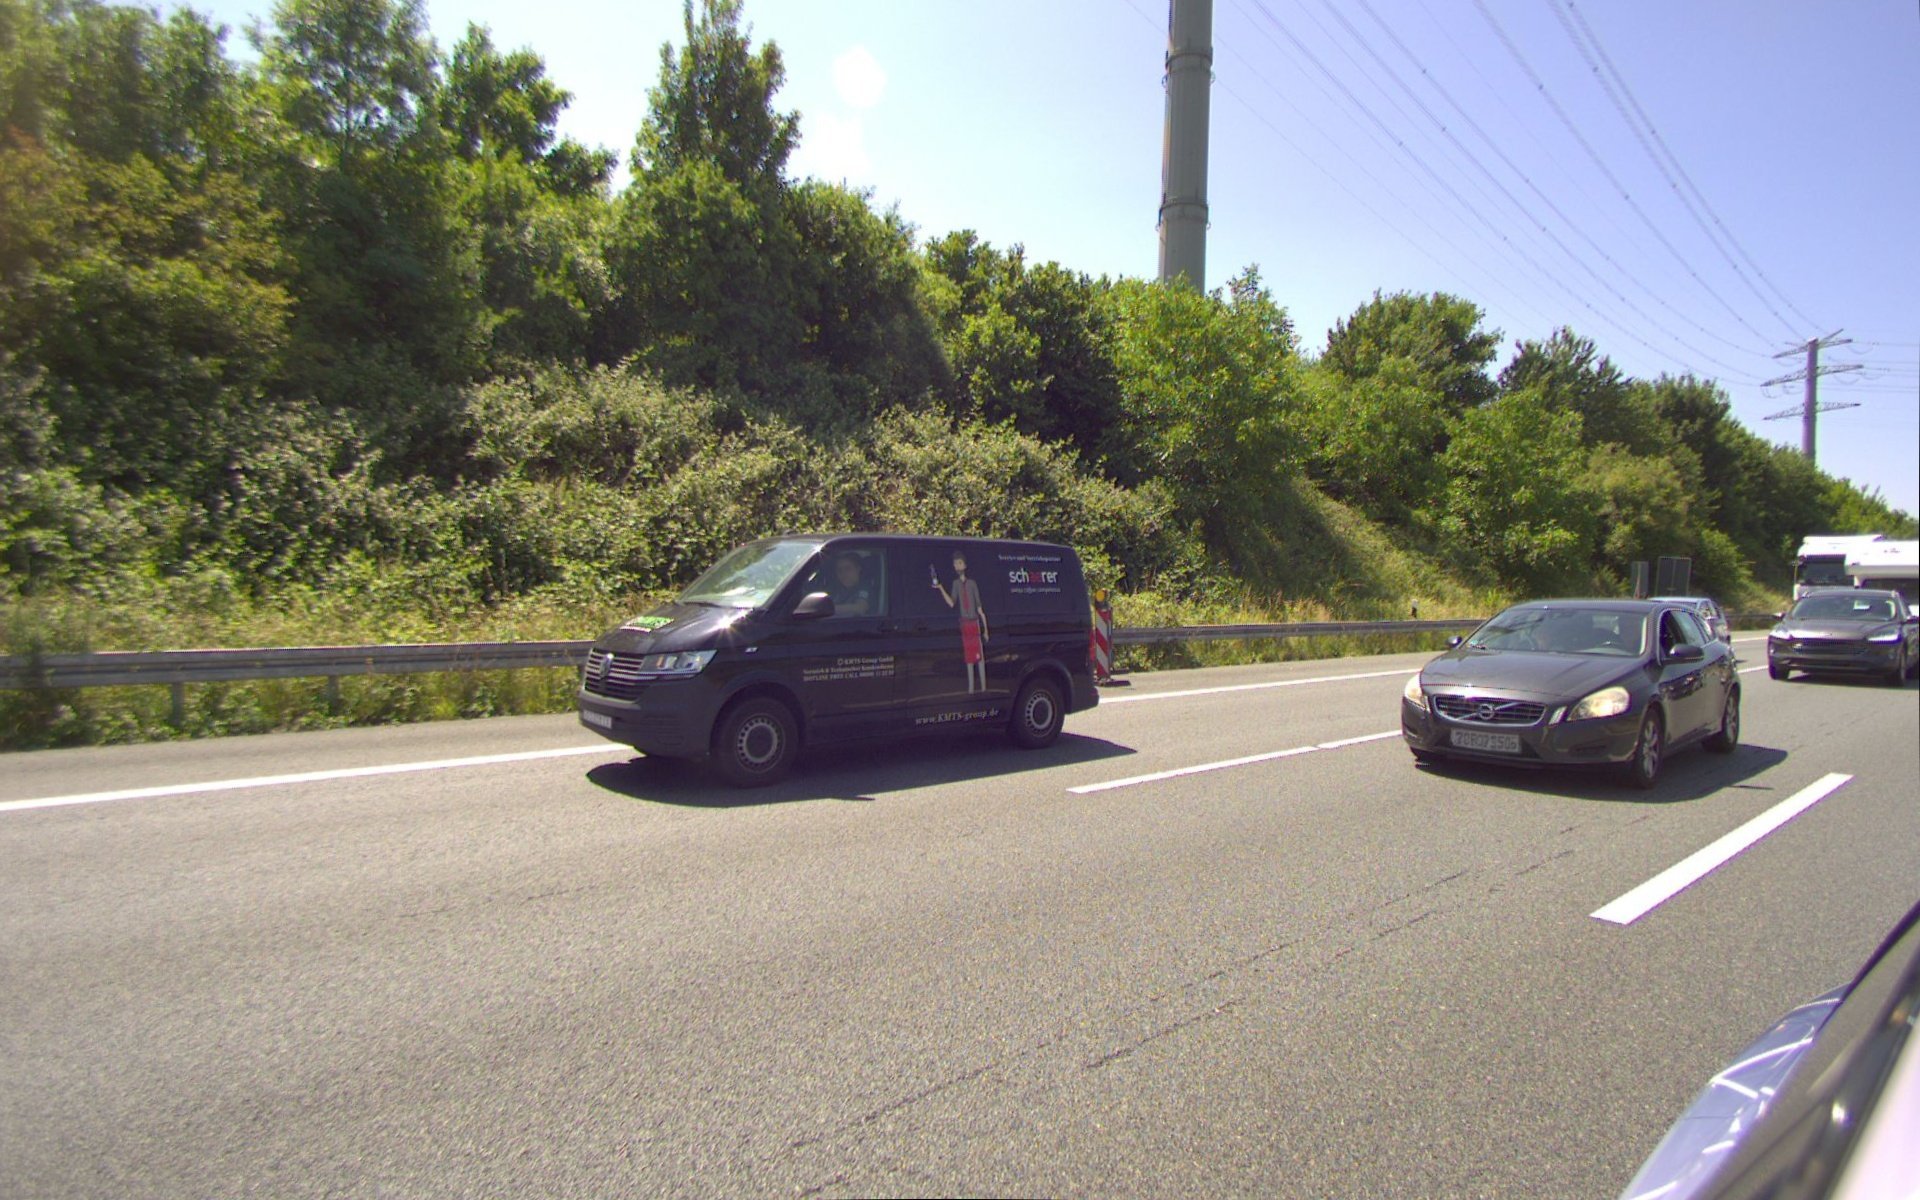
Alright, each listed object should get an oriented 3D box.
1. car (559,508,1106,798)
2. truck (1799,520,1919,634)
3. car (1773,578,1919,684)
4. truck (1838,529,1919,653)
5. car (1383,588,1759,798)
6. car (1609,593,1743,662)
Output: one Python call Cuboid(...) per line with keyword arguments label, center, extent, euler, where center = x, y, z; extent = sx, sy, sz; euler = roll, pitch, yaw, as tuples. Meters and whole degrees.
Cuboid(label="car", center=(-0.897, 0.336, 8.937), extent=(4.617, 1.928, 1.787), euler=(0, 0, -42))
Cuboid(label="truck", center=(37.803, -0.883, 42.050), extent=(11.457, 4.204, 2.653), euler=(0, 0, -41))
Cuboid(label="car", center=(16.564, 0.481, 18.607), extent=(4.309, 1.724, 1.890), euler=(0, 0, -42))
Cuboid(label="truck", center=(27.199, -0.248, 28.291), extent=(9.722, 3.053, 2.513), euler=(0, 0, -40))
Cuboid(label="car", center=(5.633, 0.628, 9.105), extent=(4.158, 1.455, 1.798), euler=(0, 0, -42))
Cuboid(label="car", center=(16.618, 0.570, 23.443), extent=(3.668, 1.455, 1.798), euler=(0, 0, -42))
